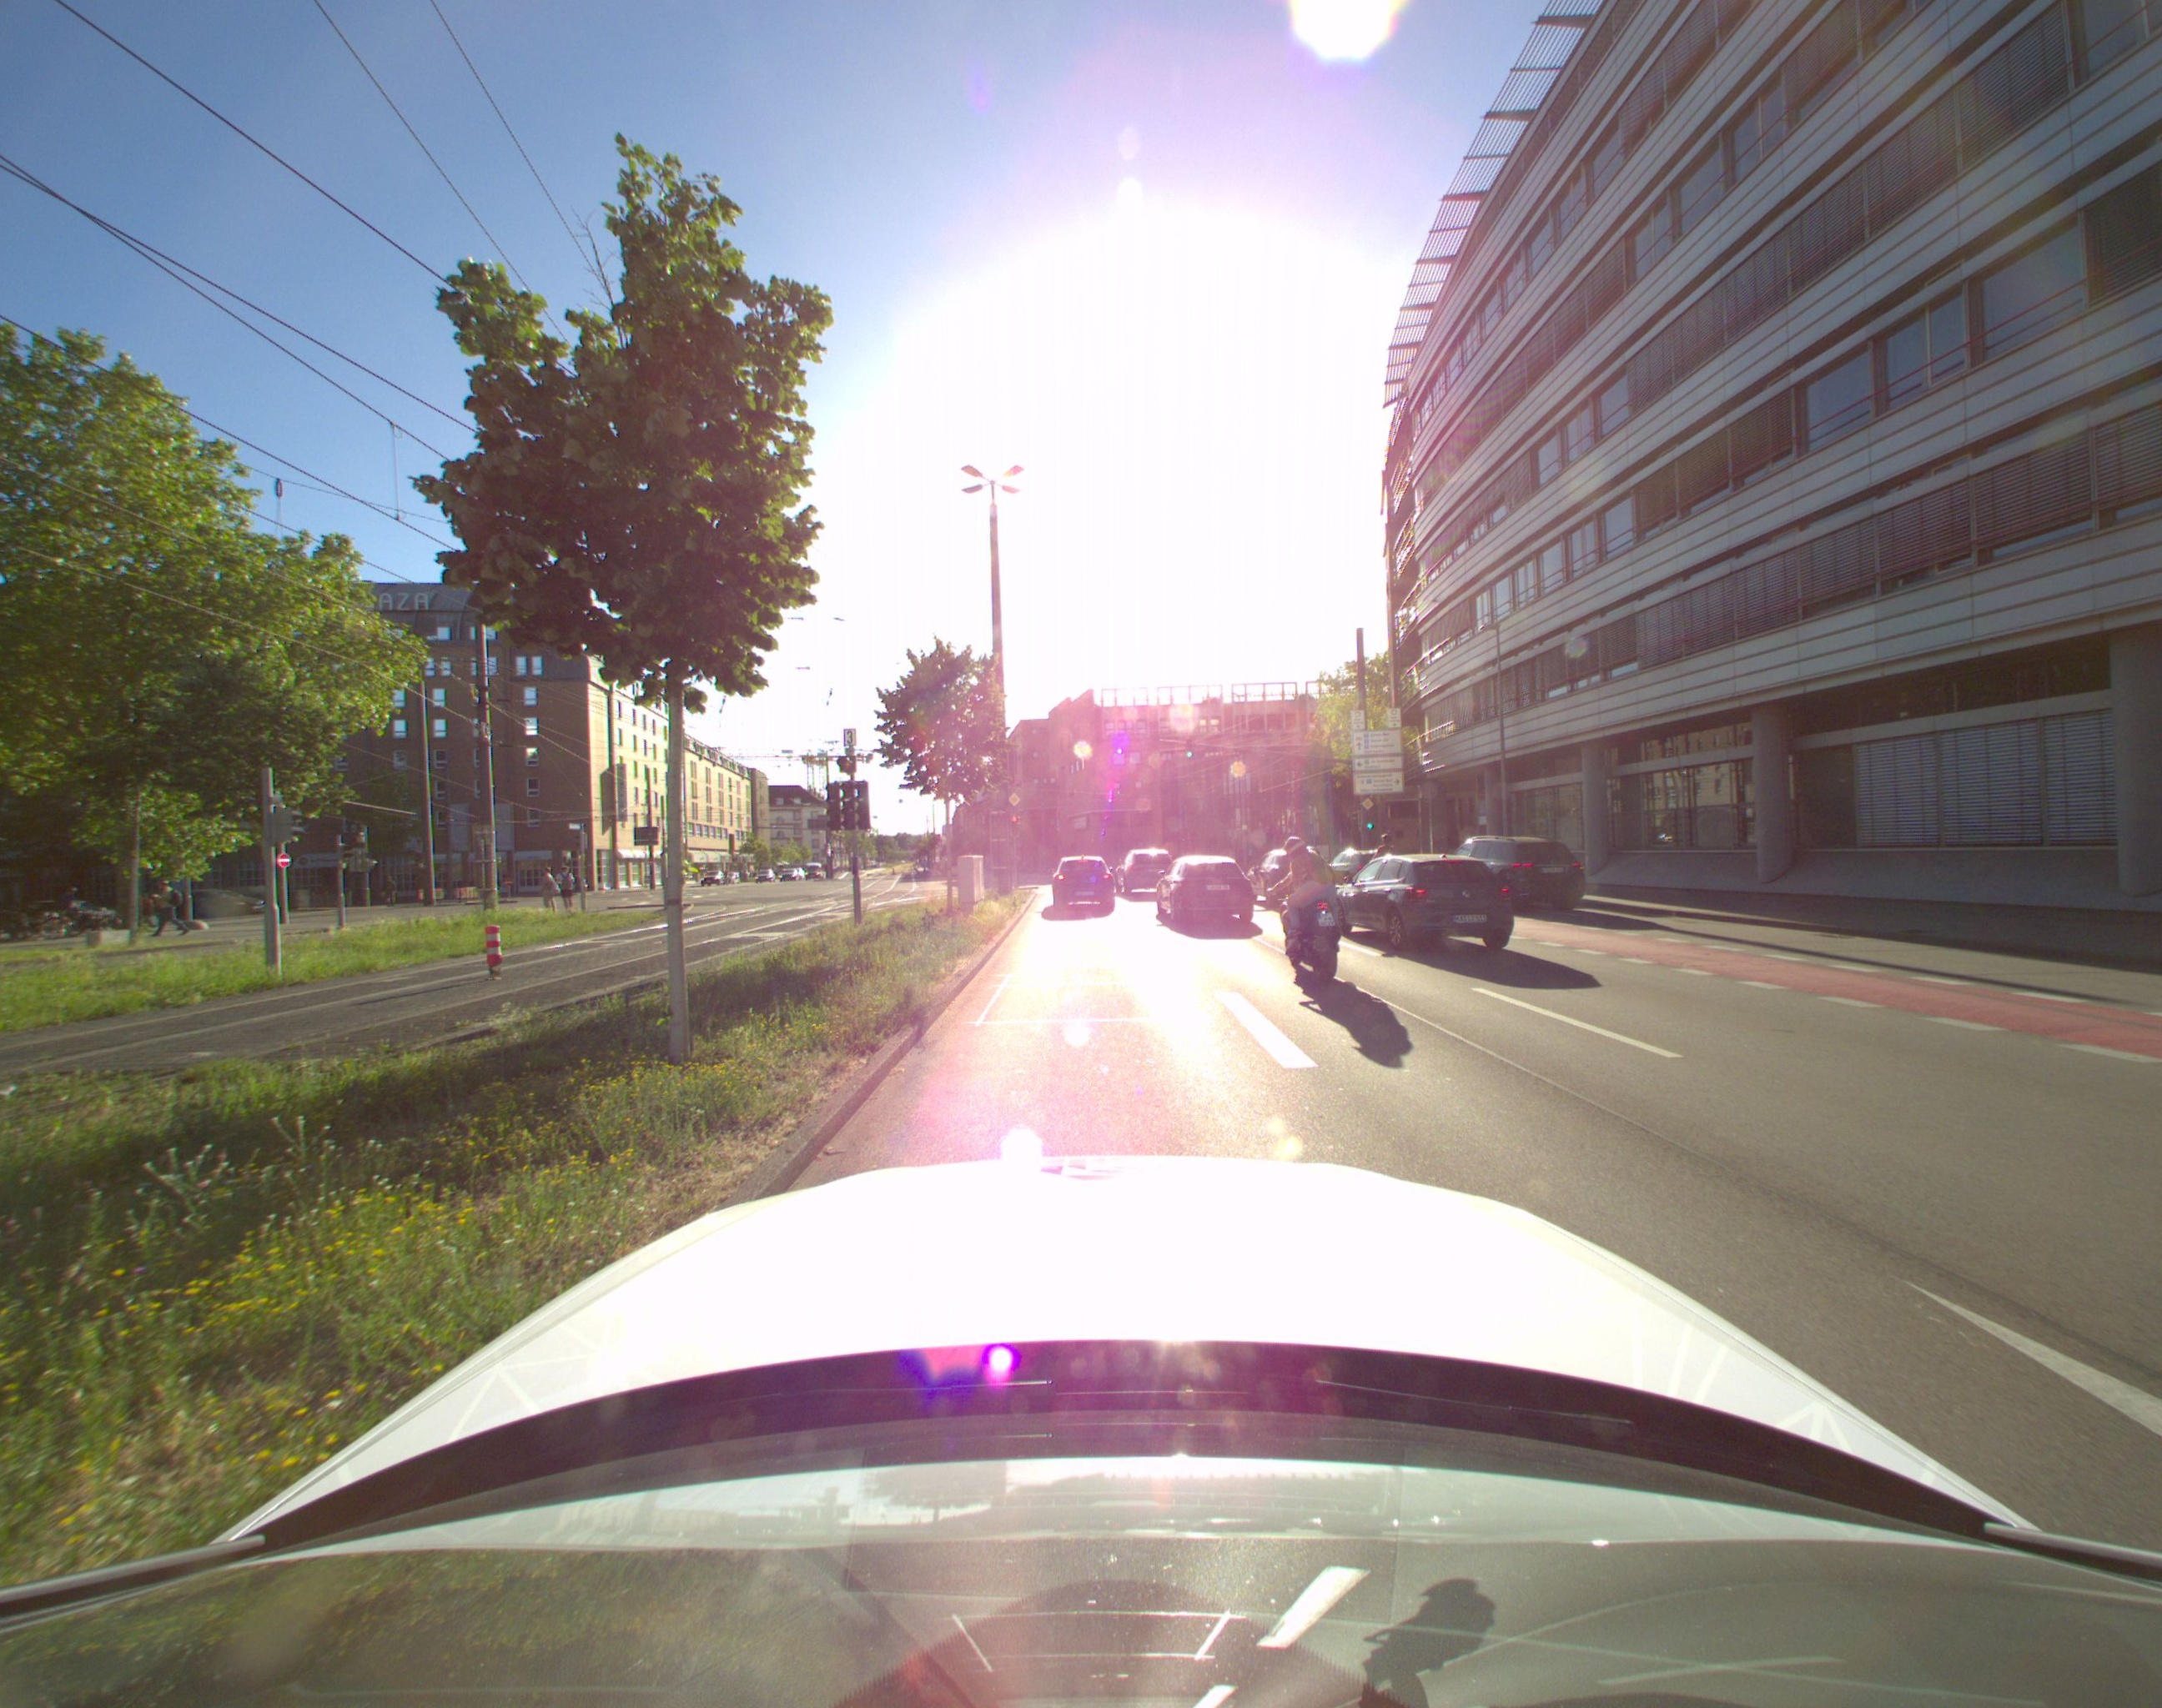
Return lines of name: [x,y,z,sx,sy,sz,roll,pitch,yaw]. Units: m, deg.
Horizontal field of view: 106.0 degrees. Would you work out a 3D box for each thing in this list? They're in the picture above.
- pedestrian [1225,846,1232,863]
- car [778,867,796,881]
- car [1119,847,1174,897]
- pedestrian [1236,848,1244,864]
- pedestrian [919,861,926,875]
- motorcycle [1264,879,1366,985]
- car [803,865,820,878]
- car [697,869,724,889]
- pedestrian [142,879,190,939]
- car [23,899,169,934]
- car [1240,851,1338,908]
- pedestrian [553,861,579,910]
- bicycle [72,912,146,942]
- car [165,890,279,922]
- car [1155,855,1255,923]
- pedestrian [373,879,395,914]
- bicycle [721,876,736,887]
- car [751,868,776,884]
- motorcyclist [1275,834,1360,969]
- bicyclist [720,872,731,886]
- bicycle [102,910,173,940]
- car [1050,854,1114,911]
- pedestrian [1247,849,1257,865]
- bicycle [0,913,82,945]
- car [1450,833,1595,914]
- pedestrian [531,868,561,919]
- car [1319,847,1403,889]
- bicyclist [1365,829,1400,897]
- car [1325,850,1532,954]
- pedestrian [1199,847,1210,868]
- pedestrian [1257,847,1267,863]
pedestrian: [13.042,0.036,72.023,0.528,1.430,0.598,-2,0,-1]
car: [-34.129,2.331,94.525,1.749,1.505,3.857,-2,0,-17]
car: [2.371,0.632,30.255,1.731,1.651,4.000,-2,0,1]
pedestrian: [16.733,0.214,85.780,0.734,1.617,0.562,-2,0,8]
pedestrian: [-19.011,1.661,97.753,0.743,1.640,0.764,-2,0,-14]
motorcycle: [2.875,0.914,10.228,0.772,1.115,1.970,-2,0,3]
car: [-31.148,2.012,94.276,1.749,1.505,3.857,-2,0,-17]
car: [-41.723,2.781,91.828,1.996,2.013,3.981,-2,0,-14]
pedestrian: [-31.768,1.886,28.283,0.729,2.014,0.838,-1,-1,4]
car: [-44.104,2.796,36.535,3.976,1.266,1.999,-2,0,-2]
car: [5.803,0.652,23.203,1.801,1.457,4.000,-1,0,1]
pedestrian: [-19.664,1.194,31.089,0.562,1.817,0.661,-2,0,-7]
bicycle: [-34.700,2.594,29.074,1.764,0.951,0.540,-2,0,-8]
car: [-46.379,2.794,44.064,3.983,1.420,1.756,-2,0,-7]
car: [2.768,0.728,18.968,1.731,1.349,4.000,-2,0,1]
pedestrian: [-40.886,2.482,47.782,0.663,2.013,0.678,-2,0,0]
bicycle: [-37.895,2.957,87.606,0.649,1.085,2.918,-2,0,-8]
car: [-36.938,2.541,94.822,1.996,1.596,4.716,-2,0,-14]
motorcyclist: [2.843,0.553,9.892,0.741,1.530,1.022,-2,0,3]
bicyclist: [-37.935,2.651,86.902,0.757,1.375,0.948,-2,0,-8]
bicycle: [-34.590,2.596,29.881,1.764,0.951,0.540,-2,0,-8]
car: [0.050,0.748,23.378,1.643,1.433,4.000,-2,0,1]
pedestrian: [17.618,0.308,84.053,0.895,1.617,0.562,-2,0,8]
bicycle: [-35.135,2.523,27.450,1.775,0.951,0.536,-2,0,-27]
car: [10.812,0.437,20.307,1.980,1.750,4.343,-2,0,12]
pedestrian: [-19.669,1.446,29.949,0.631,1.830,0.661,-2,0,-7]
car: [10.346,0.476,30.421,1.985,1.420,4.004,0,1,4]
bicyclist: [8.177,0.231,22.092,0.575,1.791,0.864,-2,0,1]
car: [5.607,0.690,13.730,1.801,1.457,4.000,-1,0,1]
pedestrian: [10.689,0.326,70.541,0.700,1.759,0.564,-2,0,25]
pedestrian: [18.896,0.141,85.183,0.895,1.617,0.562,-2,0,8]
